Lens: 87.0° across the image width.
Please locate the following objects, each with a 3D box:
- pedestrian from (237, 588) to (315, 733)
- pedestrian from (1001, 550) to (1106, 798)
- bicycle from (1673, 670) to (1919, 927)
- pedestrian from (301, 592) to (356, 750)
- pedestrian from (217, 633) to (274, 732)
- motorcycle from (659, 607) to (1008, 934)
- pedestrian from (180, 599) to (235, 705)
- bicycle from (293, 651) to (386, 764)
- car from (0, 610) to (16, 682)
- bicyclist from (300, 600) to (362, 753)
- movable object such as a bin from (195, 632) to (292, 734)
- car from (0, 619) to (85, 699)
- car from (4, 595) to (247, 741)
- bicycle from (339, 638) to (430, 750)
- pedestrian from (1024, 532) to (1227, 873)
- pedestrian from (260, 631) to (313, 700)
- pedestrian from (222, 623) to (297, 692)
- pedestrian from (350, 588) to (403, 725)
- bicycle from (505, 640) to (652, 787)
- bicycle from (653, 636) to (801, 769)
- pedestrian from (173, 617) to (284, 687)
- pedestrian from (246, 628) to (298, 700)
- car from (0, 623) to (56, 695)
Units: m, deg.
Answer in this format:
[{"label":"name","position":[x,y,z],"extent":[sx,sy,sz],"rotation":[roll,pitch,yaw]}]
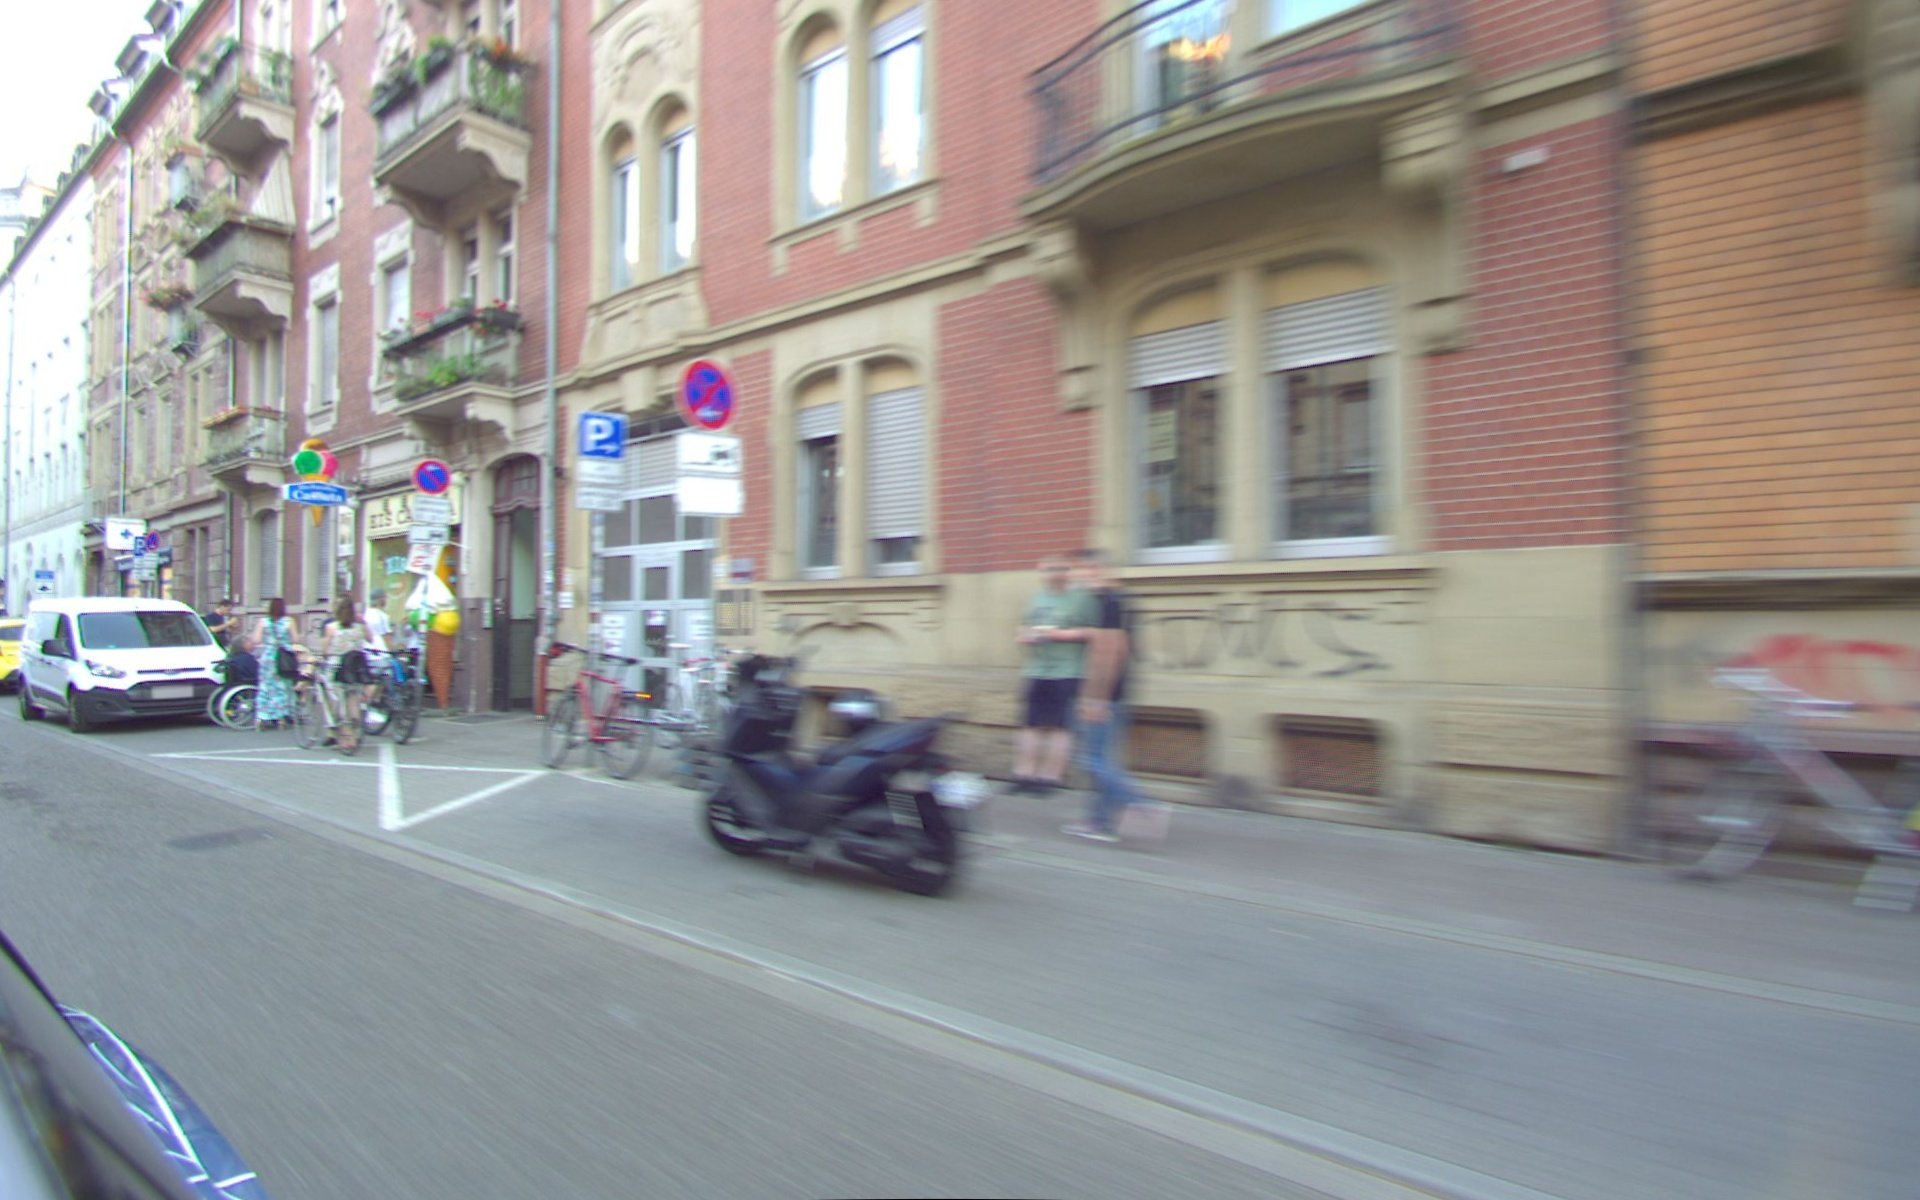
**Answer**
[{"label":"pedestrian","position":[-8.885,0.759,13.154],"extent":[0.718,1.828,0.593],"rotation":[-1,0,31]},{"label":"pedestrian","position":[0.709,0.538,7.740],"extent":[0.642,1.803,0.458],"rotation":[-1,0,43]},{"label":"bicycle","position":[4.242,0.874,4.477],"extent":[1.739,1.038,0.443],"rotation":[-1,0,41]},{"label":"pedestrian","position":[-7.089,0.779,11.370],"extent":[0.350,1.722,0.414],"rotation":[-1,0,34]},{"label":"pedestrian","position":[-9.512,1.074,13.473],"extent":[0.652,1.260,0.473],"rotation":[-1,0,40]},{"label":"motorcycle","position":[-0.742,0.752,5.343],"extent":[2.014,1.415,0.677],"rotation":[-1,0,42]},{"label":"pedestrian","position":[-12.676,0.854,17.060],"extent":[0.610,1.743,0.587],"rotation":[0,0,-23]},{"label":"bicycle","position":[-6.645,1.110,10.813],"extent":[1.520,1.076,0.460],"rotation":[-1,0,43]},{"label":"car","position":[-27.445,1.248,27.507],"extent":[4.899,1.897,1.908],"rotation":[-1,-2,39]},{"label":"bicyclist","position":[-6.830,0.807,10.987],"extent":[0.487,1.602,0.460],"rotation":[-1,0,43]},{"label":"movable object such as a bin","position":[-9.508,1.074,13.437],"extent":[0.775,1.260,0.878],"rotation":[-1,0,40]},{"label":"car","position":[-19.806,1.193,21.228],"extent":[3.790,1.541,1.687],"rotation":[-2,-2,41]},{"label":"car","position":[-12.129,0.862,14.605],"extent":[4.581,1.802,1.754],"rotation":[-1,-1,38]},{"label":"bicycle","position":[-6.757,1.053,11.838],"extent":[0.460,1.164,2.002],"rotation":[0,0,-43]},{"label":"pedestrian","position":[0.965,0.548,5.986],"extent":[0.674,1.824,0.962],"rotation":[0,0,-43]},{"label":"pedestrian","position":[-11.751,1.128,17.665],"extent":[0.572,1.148,0.625],"rotation":[-1,0,37]},{"label":"pedestrian","position":[-12.878,1.035,18.620],"extent":[0.502,1.212,1.029],"rotation":[-1,0,37]},{"label":"pedestrian","position":[-8.064,0.753,13.975],"extent":[0.589,1.828,0.722],"rotation":[0,0,-32]},{"label":"bicycle","position":[-3.467,0.968,9.108],"extent":[1.836,1.168,0.407],"rotation":[-1,0,41]},{"label":"bicycle","position":[-2.328,0.959,9.963],"extent":[1.836,1.168,0.407],"rotation":[-1,0,41]},{"label":"pedestrian","position":[-13.526,0.939,18.738],"extent":[0.641,1.212,1.547],"rotation":[-1,0,37]},{"label":"pedestrian","position":[-12.422,1.140,18.273],"extent":[0.584,1.261,0.613],"rotation":[-1,0,37]},{"label":"car","position":[-23.288,1.382,24.270],"extent":[3.967,1.608,1.907],"rotation":[-2,-2,41]}]
